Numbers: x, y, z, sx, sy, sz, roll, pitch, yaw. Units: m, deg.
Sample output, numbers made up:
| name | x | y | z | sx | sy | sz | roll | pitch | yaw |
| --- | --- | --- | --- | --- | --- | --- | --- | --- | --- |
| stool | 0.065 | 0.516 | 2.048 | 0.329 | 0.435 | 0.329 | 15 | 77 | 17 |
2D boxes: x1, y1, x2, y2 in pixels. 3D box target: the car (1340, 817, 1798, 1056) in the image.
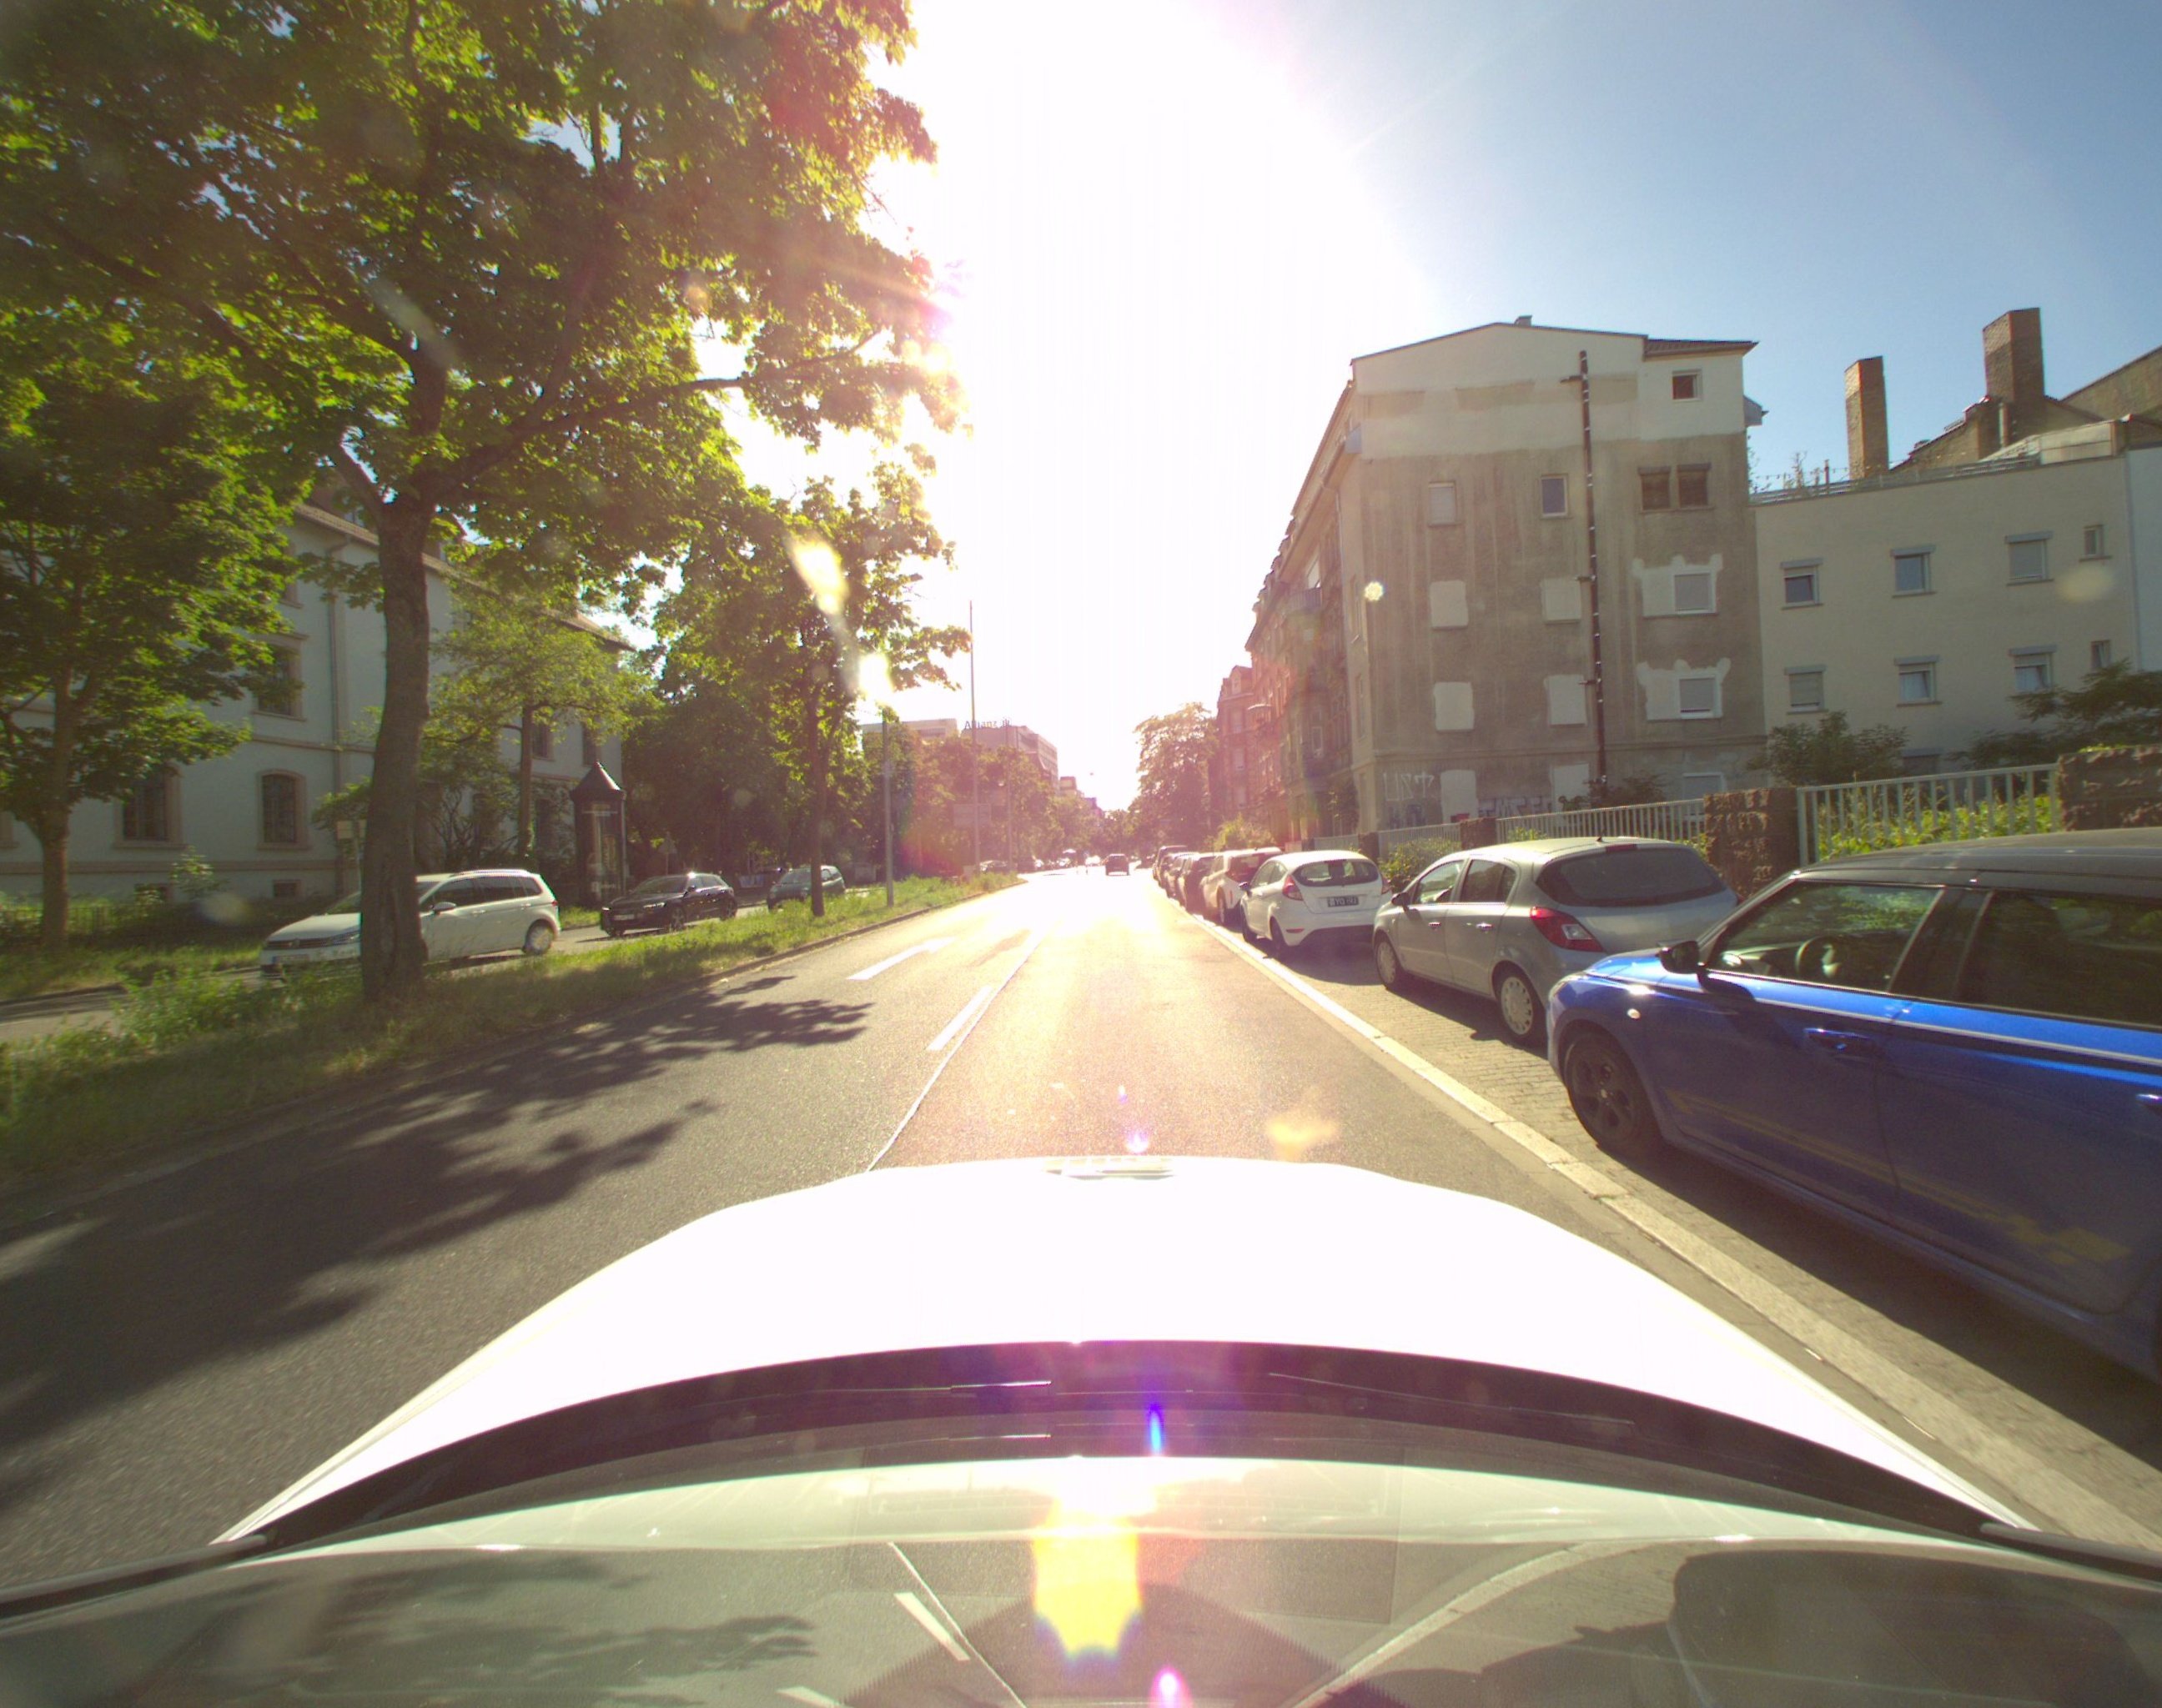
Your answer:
| name | x | y | z | sx | sy | sz | roll | pitch | yaw |
| --- | --- | --- | --- | --- | --- | --- | --- | --- | --- |
| car | 3.950 | 0.548 | 7.510 | 1.663 | 1.459 | 3.983 | -6 | 0 | -2 |

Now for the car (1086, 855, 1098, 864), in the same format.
| name | x | y | z | sx | sy | sz | roll | pitch | yaw |
| --- | --- | --- | --- | --- | --- | --- | --- | --- | --- |
| car | 2.040 | 1.048 | 149.508 | 1.794 | 1.504 | 3.812 | -3 | 0 | 4 |

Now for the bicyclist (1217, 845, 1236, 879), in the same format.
| name | x | y | z | sx | sy | sz | roll | pitch | yaw |
| --- | --- | --- | --- | --- | --- | --- | --- | --- | --- |
| bicyclist | 6.911 | 0.384 | 38.697 | 0.738 | 1.580 | 1.101 | -1 | 1 | 4 |

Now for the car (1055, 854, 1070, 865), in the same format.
| name | x | y | z | sx | sy | sz | roll | pitch | yaw |
| --- | --- | --- | --- | --- | --- | --- | --- | --- | --- |
| car | -2.685 | 0.817 | 117.077 | 1.514 | 1.432 | 3.346 | -3 | 0 | 10 |

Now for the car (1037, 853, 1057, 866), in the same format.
| name | x | y | z | sx | sy | sz | roll | pitch | yaw |
| --- | --- | --- | --- | --- | --- | --- | --- | --- | --- |
| car | -4.462 | 0.708 | 106.816 | 1.748 | 1.519 | 3.870 | -3 | 0 | 10 |

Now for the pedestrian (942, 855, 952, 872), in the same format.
| name | x | y | z | sx | sy | sz | roll | pitch | yaw |
| --- | --- | --- | --- | --- | --- | --- | --- | --- | --- |
| pedestrian | -13.791 | 0.979 | 83.611 | 0.662 | 1.626 | 0.720 | -2 | 0 | 36 |

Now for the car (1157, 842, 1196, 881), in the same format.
| name | x | y | z | sx | sy | sz | roll | pitch | yaw |
| --- | --- | --- | --- | --- | --- | --- | --- | --- | --- |
| car | 4.876 | 0.356 | 42.018 | 1.811 | 1.844 | 4.370 | -3 | 0 | 5 |

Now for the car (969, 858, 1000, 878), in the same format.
| name | x | y | z | sx | sy | sz | roll | pitch | yaw |
| --- | --- | --- | --- | --- | --- | --- | --- | --- | --- |
| car | -7.652 | 1.097 | 64.770 | 1.789 | 1.519 | 4.424 | -1 | 0 | 1 |

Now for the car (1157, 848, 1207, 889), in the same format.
| name | x | y | z | sx | sy | sz | roll | pitch | yaw |
| --- | --- | --- | --- | --- | --- | --- | --- | --- | --- |
| car | 4.025 | 0.540 | 32.812 | 1.615 | 1.470 | 3.300 | 3 | 1 | 2 |

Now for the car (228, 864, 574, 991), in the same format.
| name | x | y | z | sx | sy | sz | roll | pitch | yaw |
| --- | --- | --- | --- | --- | --- | --- | --- | --- | --- |
| car | -11.021 | 1.064 | 13.765 | 1.894 | 1.626 | 4.538 | -3 | 0 | 1 |

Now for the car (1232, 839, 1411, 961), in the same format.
| name | x | y | z | sx | sy | sz | roll | pitch | yaw |
| --- | --- | --- | --- | --- | --- | --- | --- | --- | --- |
| car | 3.488 | 0.584 | 12.474 | 1.603 | 1.446 | 3.659 | -6 | 0 | 1 |

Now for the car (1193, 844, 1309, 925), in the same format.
| name | x | y | z | sx | sy | sz | roll | pitch | yaw |
| --- | --- | --- | --- | --- | --- | --- | --- | --- | --- |
| car | 3.607 | 0.596 | 17.878 | 1.663 | 1.519 | 3.659 | -3 | 0 | -1 |

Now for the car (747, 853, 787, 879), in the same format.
| name | x | y | z | sx | sy | sz | roll | pitch | yaw |
| --- | --- | --- | --- | --- | --- | --- | --- | --- | --- |
| car | -31.725 | 1.260 | 82.466 | 1.838 | 2.324 | 4.988 | -1 | -3 | 3 |

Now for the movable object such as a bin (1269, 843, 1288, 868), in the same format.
| name | x | y | z | sx | sy | sz | roll | pitch | yaw |
| --- | --- | --- | --- | --- | --- | --- | --- | --- | --- |
| movable object such as a bin | 9.564 | 0.079 | 39.406 | 0.755 | 1.157 | 0.609 | -1 | -3 | 4 |

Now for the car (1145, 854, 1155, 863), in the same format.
| name | x | y | z | sx | sy | sz | roll | pitch | yaw |
| --- | --- | --- | --- | --- | --- | --- | --- | --- | --- |
| car | 15.001 | 0.959 | 176.451 | 1.910 | 1.640 | 4.008 | -3 | 0 | 7 |

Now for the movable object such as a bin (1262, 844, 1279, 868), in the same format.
| name | x | y | z | sx | sy | sz | roll | pitch | yaw |
| --- | --- | --- | --- | --- | --- | --- | --- | --- | --- |
| movable object such as a bin | 9.338 | 0.101 | 40.189 | 0.719 | 1.157 | 0.609 | -1 | -3 | 4 |

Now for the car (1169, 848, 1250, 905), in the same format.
| name | x | y | z | sx | sy | sz | roll | pitch | yaw |
| --- | --- | --- | --- | --- | --- | --- | --- | --- | --- |
| car | 3.490 | 0.563 | 22.649 | 1.662 | 1.393 | 3.776 | -3 | 0 | 1 |

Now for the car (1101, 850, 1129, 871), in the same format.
| name | x | y | z | sx | sy | sz | roll | pitch | yaw |
| --- | --- | --- | --- | --- | --- | --- | --- | --- | --- |
| car | 2.499 | 0.479 | 60.255 | 1.889 | 1.519 | 3.999 | 0 | 0 | -1 |

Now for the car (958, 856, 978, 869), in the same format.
| name | x | y | z | sx | sy | sz | roll | pitch | yaw |
| --- | --- | --- | --- | --- | --- | --- | --- | --- | --- |
| car | -15.029 | 1.145 | 108.470 | 1.980 | 1.662 | 3.976 | -3 | 0 | -18 |

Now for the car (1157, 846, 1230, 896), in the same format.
| name | x | y | z | sx | sy | sz | roll | pitch | yaw |
| --- | --- | --- | --- | --- | --- | --- | --- | --- | --- |
| car | 3.806 | 0.528 | 28.252 | 1.928 | 1.519 | 4.485 | -3 | 0 | 1 |

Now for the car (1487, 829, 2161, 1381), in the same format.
| name | x | y | z | sx | sy | sz | roll | pitch | yaw |
| --- | --- | --- | --- | --- | --- | --- | --- | --- | --- |
| car | 3.344 | 0.573 | 3.031 | 1.662 | 1.182 | 3.901 | -6 | 0 | 0 |

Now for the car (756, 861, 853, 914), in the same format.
| name | x | y | z | sx | sy | sz | roll | pitch | yaw |
| --- | --- | --- | --- | --- | --- | --- | --- | --- | --- |
| car | -9.038 | 1.036 | 27.027 | 1.632 | 1.519 | 4.259 | -3 | 0 | 1 |

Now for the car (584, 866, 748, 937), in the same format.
| name | x | y | z | sx | sy | sz | roll | pitch | yaw |
| --- | --- | --- | --- | --- | --- | --- | --- | --- | --- |
| car | -10.435 | 1.133 | 20.864 | 1.787 | 1.519 | 4.091 | -4 | -1 | 4 |

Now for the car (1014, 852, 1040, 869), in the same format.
| name | x | y | z | sx | sy | sz | roll | pitch | yaw |
| --- | --- | --- | --- | --- | --- | --- | --- | --- | --- |
| car | -6.293 | 0.732 | 95.831 | 2.188 | 1.929 | 4.869 | -3 | 0 | 5 |

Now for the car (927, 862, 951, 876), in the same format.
| name | x | y | z | sx | sy | sz | roll | pitch | yaw |
| --- | --- | --- | --- | --- | --- | --- | --- | --- | --- |
| car | -18.638 | 1.956 | 106.804 | 1.987 | 1.662 | 3.963 | -3 | 0 | -29 |

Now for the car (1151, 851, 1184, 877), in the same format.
| name | x | y | z | sx | sy | sz | roll | pitch | yaw |
| --- | --- | --- | --- | --- | --- | --- | --- | --- | --- |
| car | 5.053 | 0.579 | 48.197 | 1.702 | 1.425 | 4.209 | 1 | 0 | 3 |

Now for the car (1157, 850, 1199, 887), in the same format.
| name | x | y | z | sx | sy | sz | roll | pitch | yaw |
| --- | --- | --- | --- | --- | --- | --- | --- | --- | --- |
| car | 4.314 | 0.592 | 36.574 | 1.660 | 1.468 | 4.280 | -3 | 0 | 5 |

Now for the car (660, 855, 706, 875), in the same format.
| name | x | y | z | sx | sy | sz | roll | pitch | yaw |
| --- | --- | --- | --- | --- | --- | --- | --- | --- | --- |
| car | -34.088 | 0.963 | 69.879 | 1.838 | 1.491 | 4.002 | -1 | -3 | 3 |

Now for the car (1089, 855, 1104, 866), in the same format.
| name | x | y | z | sx | sy | sz | roll | pitch | yaw |
| --- | --- | --- | --- | --- | --- | --- | --- | --- | --- |
| car | 2.554 | 1.060 | 130.373 | 1.748 | 1.519 | 3.870 | -3 | 1 | 10 |
